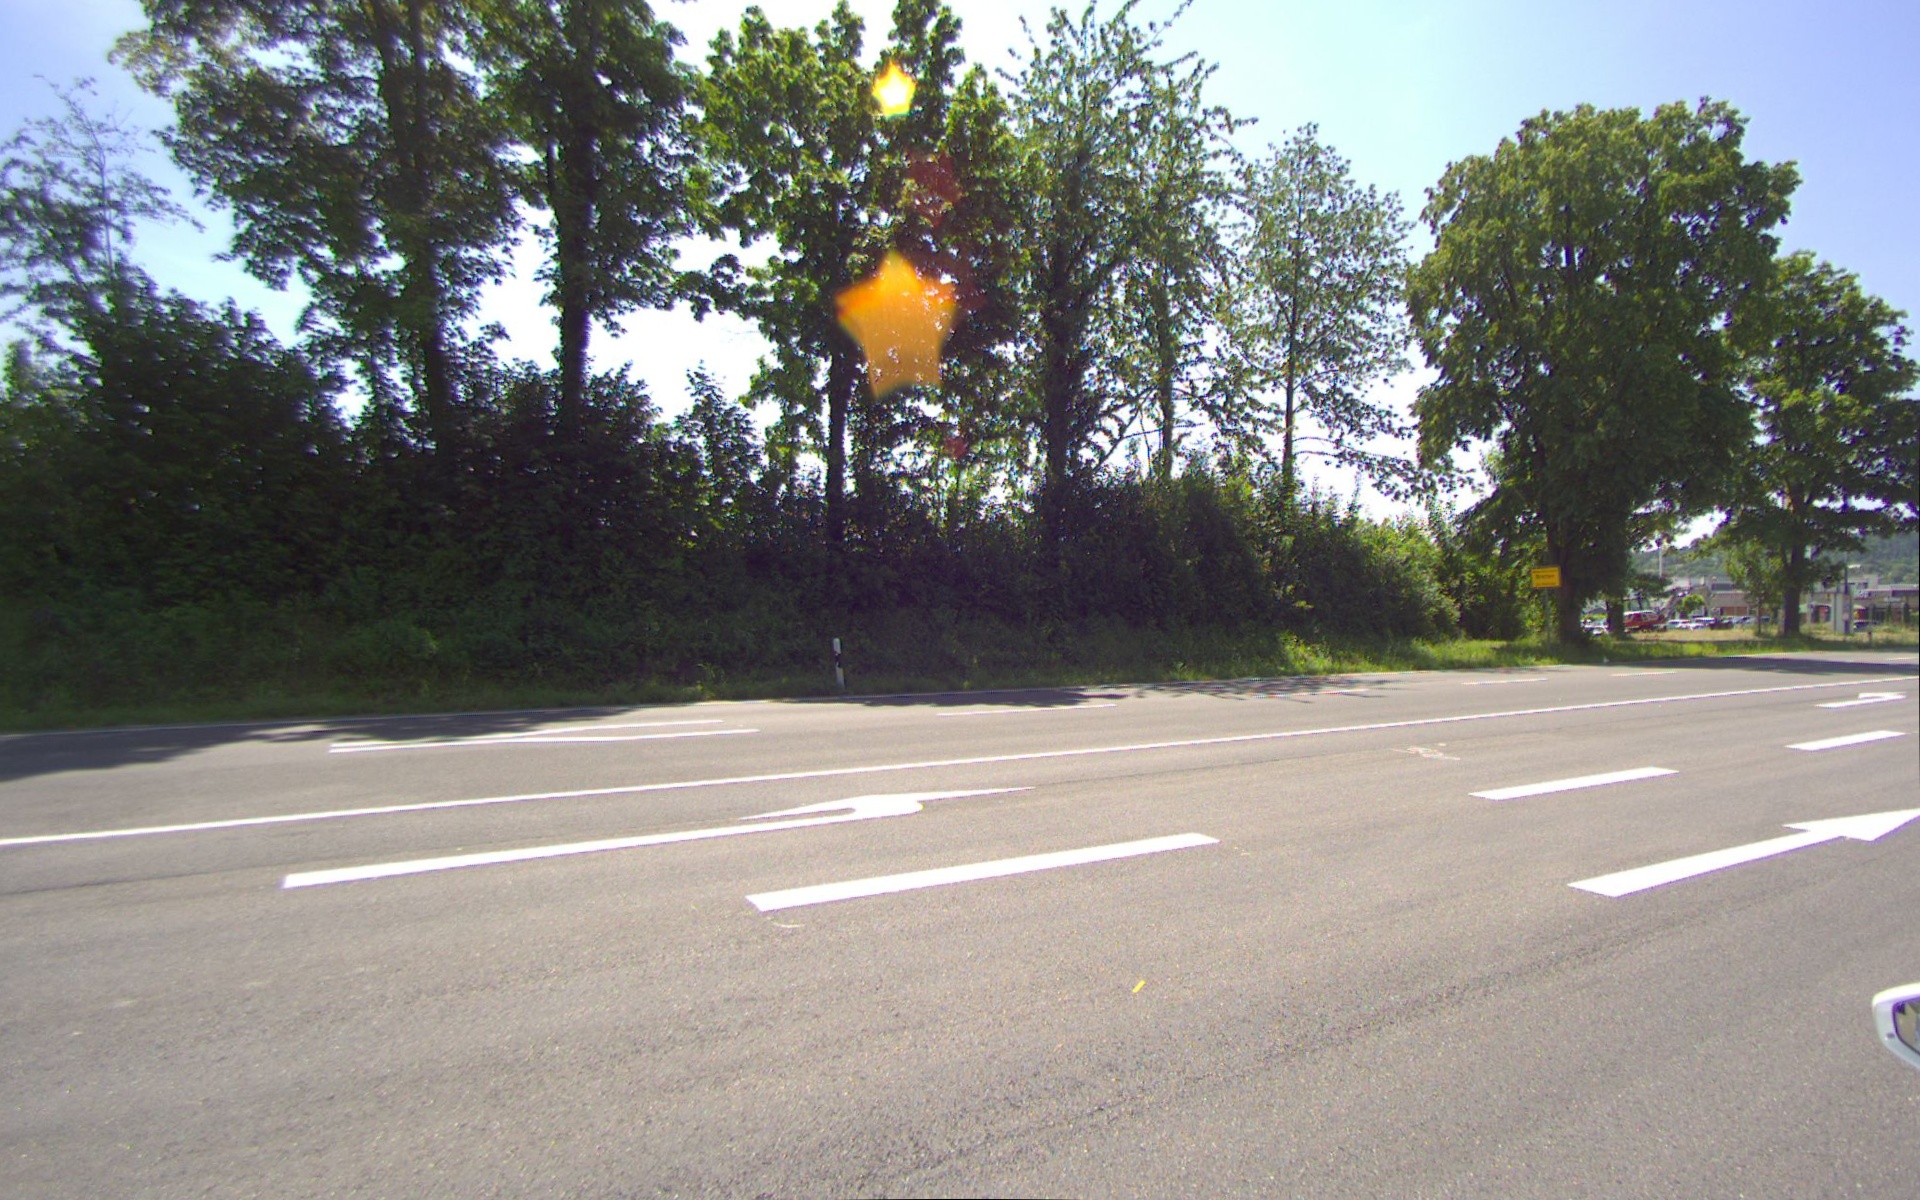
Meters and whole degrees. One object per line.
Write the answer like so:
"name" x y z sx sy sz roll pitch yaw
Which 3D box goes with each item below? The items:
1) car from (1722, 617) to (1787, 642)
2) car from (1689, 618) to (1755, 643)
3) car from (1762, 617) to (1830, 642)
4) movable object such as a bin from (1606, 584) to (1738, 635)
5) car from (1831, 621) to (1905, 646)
"car" 56.782 2.082 71.885 1.803 1.639 4.002 1 0 6
"car" 54.595 2.149 72.038 1.959 1.673 4.002 1 0 6
"car" 59.473 2.089 71.513 1.803 1.639 4.002 1 0 6
"movable object such as a bin" 48.289 0.637 68.331 6.654 3.342 3.054 0 0 9
"car" 62.438 2.281 69.152 1.803 1.639 4.002 1 0 6
